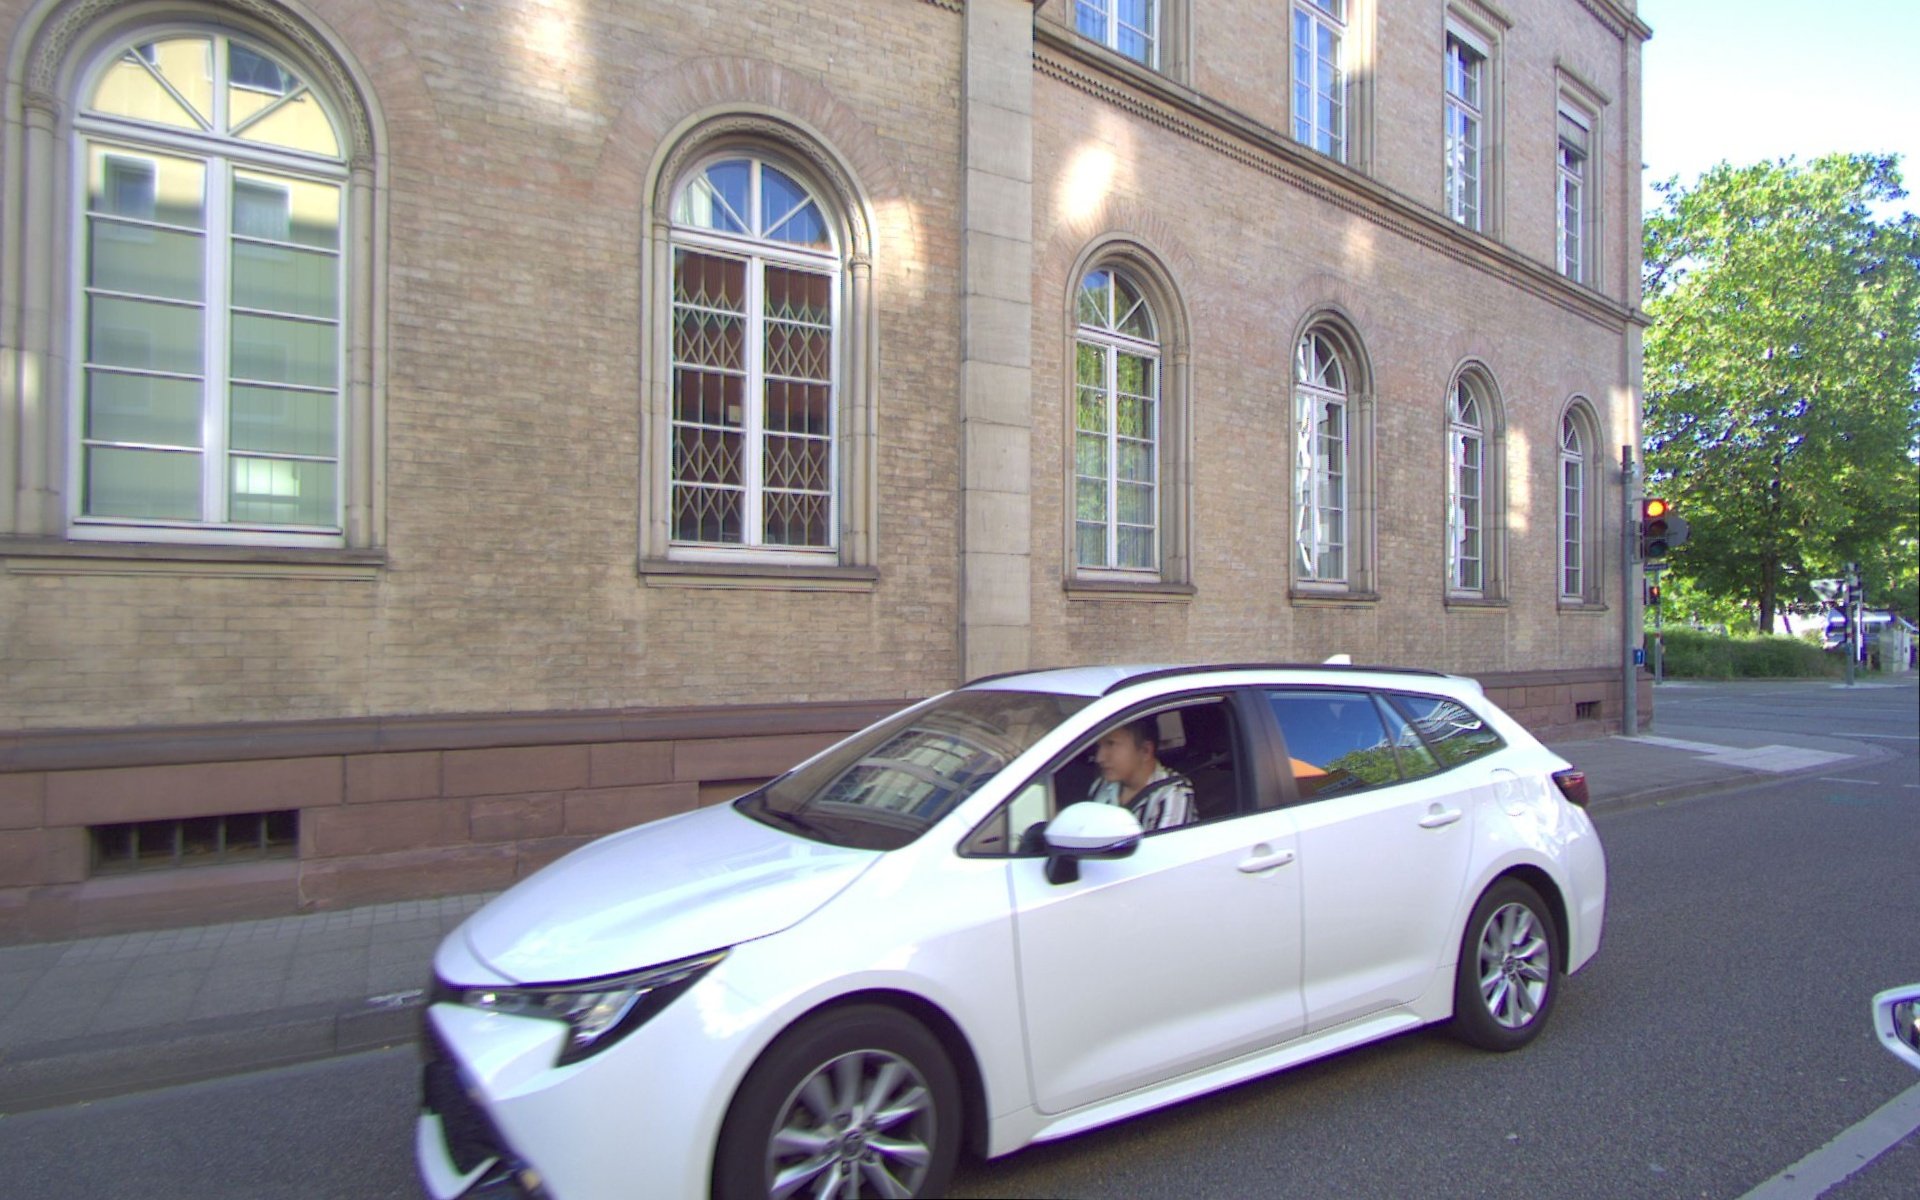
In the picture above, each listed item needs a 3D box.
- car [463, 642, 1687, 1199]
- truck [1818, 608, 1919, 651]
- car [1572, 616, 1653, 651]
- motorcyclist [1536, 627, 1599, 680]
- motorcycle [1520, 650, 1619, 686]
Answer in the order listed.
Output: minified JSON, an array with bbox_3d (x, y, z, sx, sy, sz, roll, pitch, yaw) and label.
[{"bbox_3d":[0.606,0.932,3.926,4.490,1.495,1.879,1,-4,-29],"label":"car"},{"bbox_3d":[53.765,1.683,59.074,2.069,2.431,4.790,1,-1,-39],"label":"truck"},{"bbox_3d":[47.839,2.482,73.727,2.056,2.423,4.521,2,-3,-38],"label":"car"},{"bbox_3d":[17.115,1.490,28.305,0.812,1.438,1.287,1,-1,-31],"label":"motorcyclist"},{"bbox_3d":[17.117,1.885,28.284,0.811,0.900,2.286,1,-2,-31],"label":"motorcycle"}]
